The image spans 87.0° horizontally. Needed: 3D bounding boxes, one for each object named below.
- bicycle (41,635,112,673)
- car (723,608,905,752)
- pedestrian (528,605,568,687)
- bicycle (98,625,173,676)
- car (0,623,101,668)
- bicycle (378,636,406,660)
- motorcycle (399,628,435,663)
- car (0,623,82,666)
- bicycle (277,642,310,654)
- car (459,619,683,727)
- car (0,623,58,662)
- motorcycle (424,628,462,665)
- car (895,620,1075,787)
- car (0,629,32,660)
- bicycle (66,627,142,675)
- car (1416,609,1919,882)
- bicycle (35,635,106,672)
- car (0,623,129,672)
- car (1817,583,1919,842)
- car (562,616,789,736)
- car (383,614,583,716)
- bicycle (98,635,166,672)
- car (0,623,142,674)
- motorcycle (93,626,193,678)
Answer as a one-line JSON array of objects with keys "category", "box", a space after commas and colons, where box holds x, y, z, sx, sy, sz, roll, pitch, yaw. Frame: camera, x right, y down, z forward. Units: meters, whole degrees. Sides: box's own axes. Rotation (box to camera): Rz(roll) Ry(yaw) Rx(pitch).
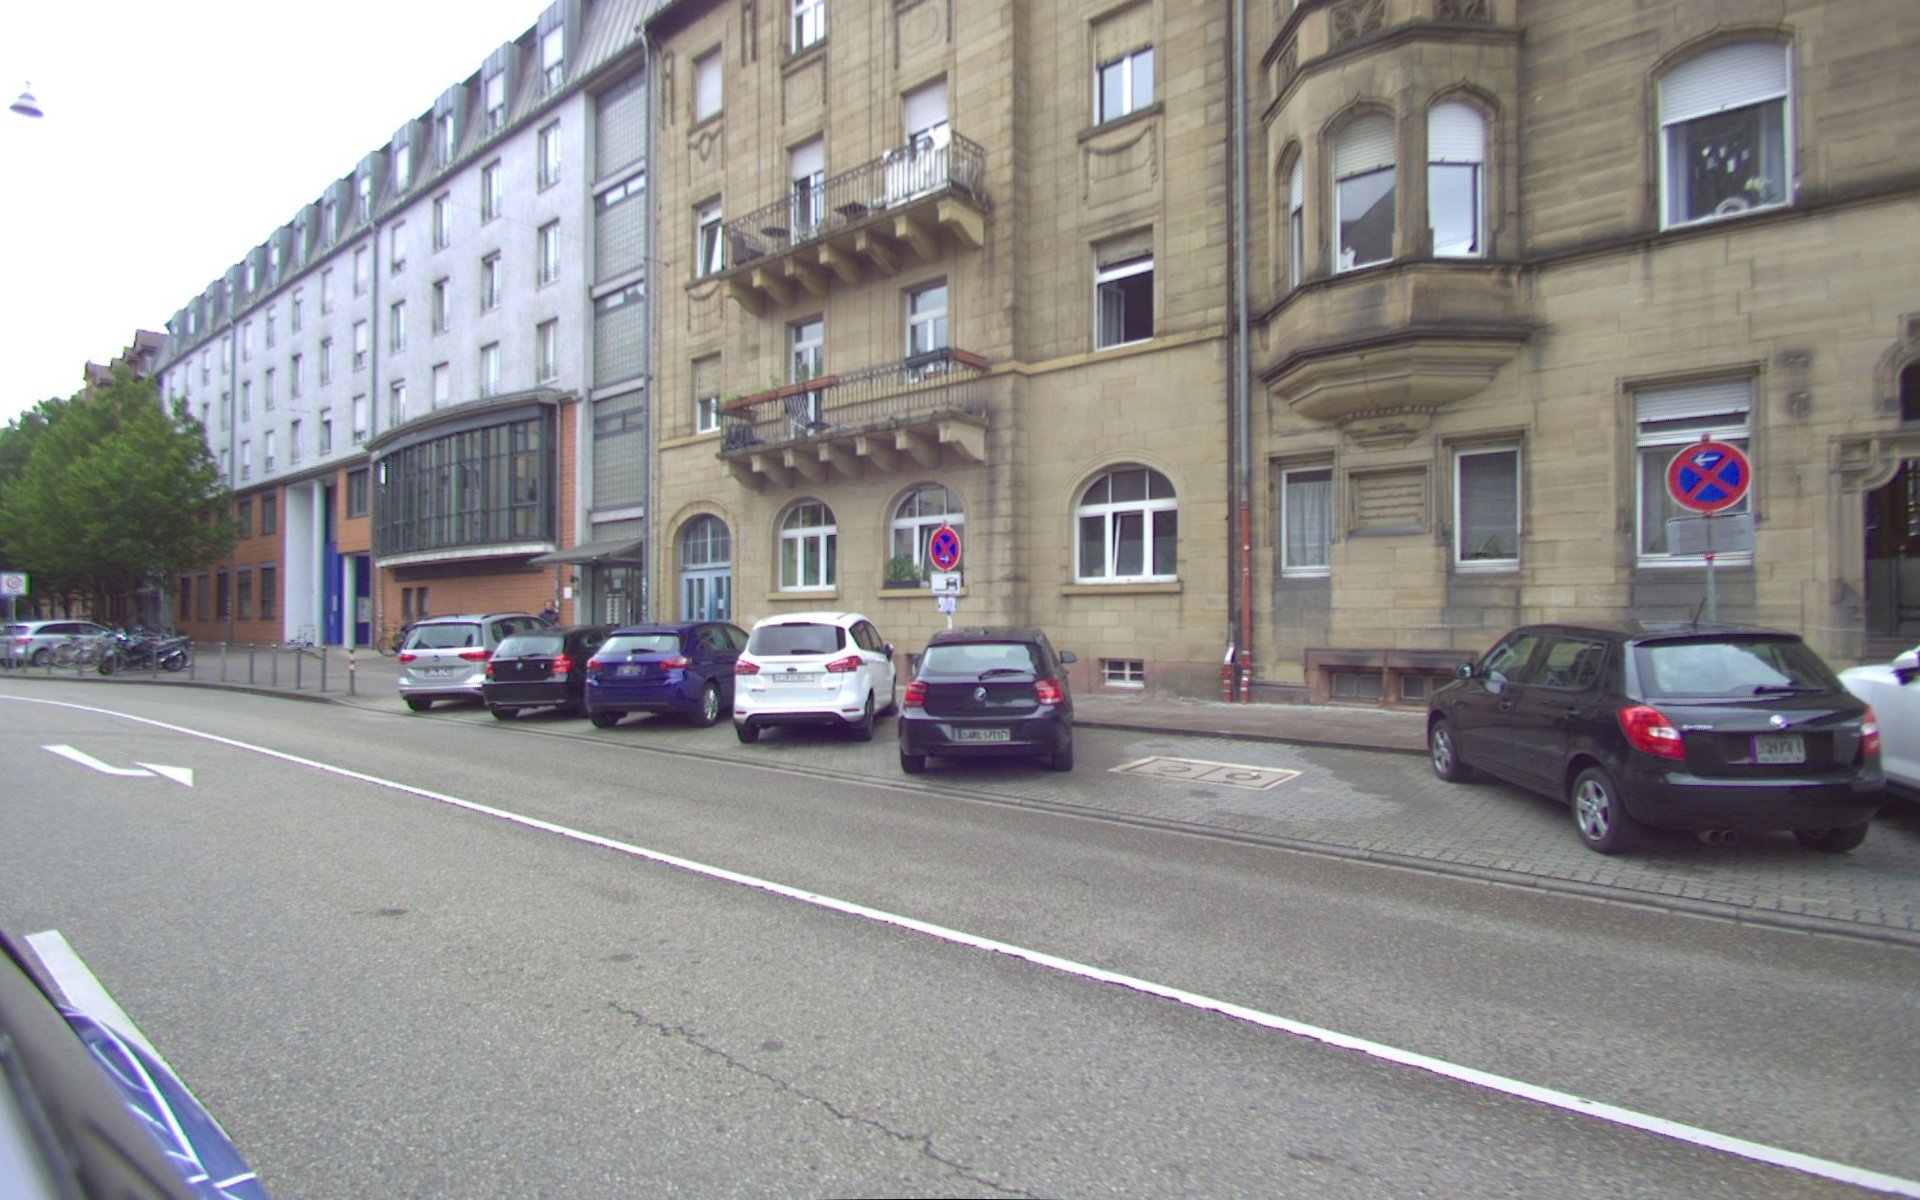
[{"category": "bicycle", "box": [-27.459, 1.665, 31.484, 0.416, 1.082, 1.609, -1, 0, 40]}, {"category": "car", "box": [-1.806, 0.948, 13.744, 1.681, 1.565, 3.996, -2, 0, 3]}, {"category": "pedestrian", "box": [-9.324, 1.031, 22.894, 0.642, 1.837, 0.613, -2, -2, 41]}, {"category": "bicycle", "box": [-23.591, 1.423, 28.963, 0.416, 1.363, 1.609, -1, 0, 40]}, {"category": "car", "box": [-35.304, 1.692, 38.173, 1.984, 1.641, 3.976, -1, -2, 18]}, {"category": "bicycle", "box": [-19.193, 1.619, 34.194, 1.581, 0.793, 0.332, -2, -2, 42]}, {"category": "motorcycle", "box": [-17.376, 1.440, 32.351, 1.762, 1.106, 0.440, -2, -2, 42]}, {"category": "car", "box": [-37.515, 1.722, 39.846, 1.984, 1.641, 3.976, -1, -2, 18]}, {"category": "bicycle", "box": [-26.013, 1.865, 39.499, 0.527, 0.440, 0.997, 1, -1, 43]}, {"category": "car", "box": [-6.279, 1.115, 16.872, 1.713, 1.449, 3.989, -2, 0, 9]}, {"category": "car", "box": [-41.975, 1.837, 43.773, 1.984, 1.641, 3.976, -1, -2, 18]}, {"category": "motorcycle", "box": [-15.858, 1.425, 31.038, 1.762, 1.106, 0.440, -2, -2, 42]}, {"category": "car", "box": [0.408, 0.984, 11.238, 1.641, 1.428, 3.993, 0, 0, 5]}, {"category": "car", "box": [-47.022, 2.109, 48.068, 1.724, 1.508, 3.976, -1, -2, 18]}, {"category": "bicycle", "box": [-24.625, 1.460, 29.143, 0.416, 1.299, 1.609, -1, 0, 40]}, {"category": "car", "box": [5.066, 0.859, 7.750, 1.549, 1.508, 3.809, 0, 0, 3]}, {"category": "bicycle", "box": [-27.888, 1.668, 31.743, 0.416, 1.082, 1.609, -1, 0, 40]}, {"category": "car", "box": [-32.670, 1.660, 36.306, 1.984, 1.641, 3.976, -1, -2, 18]}, {"category": "car", "box": [7.082, 0.739, 5.796, 1.825, 1.737, 3.978, -1, -1, 17]}, {"category": "car", "box": [-4.110, 1.052, 15.286, 1.804, 1.456, 3.736, -2, 0, 11]}, {"category": "car", "box": [-8.655, 1.102, 18.783, 1.710, 1.565, 3.998, -2, 0, 2]}, {"category": "bicycle", "box": [-25.984, 1.665, 31.787, 0.416, 1.082, 1.609, -1, 0, 40]}, {"category": "car", "box": [-30.670, 1.620, 34.554, 1.758, 1.641, 3.976, -1, -2, 18]}, {"category": "motorcycle", "box": [-22.874, 1.427, 28.372, 0.599, 1.363, 2.096, -1, 0, 42]}]
